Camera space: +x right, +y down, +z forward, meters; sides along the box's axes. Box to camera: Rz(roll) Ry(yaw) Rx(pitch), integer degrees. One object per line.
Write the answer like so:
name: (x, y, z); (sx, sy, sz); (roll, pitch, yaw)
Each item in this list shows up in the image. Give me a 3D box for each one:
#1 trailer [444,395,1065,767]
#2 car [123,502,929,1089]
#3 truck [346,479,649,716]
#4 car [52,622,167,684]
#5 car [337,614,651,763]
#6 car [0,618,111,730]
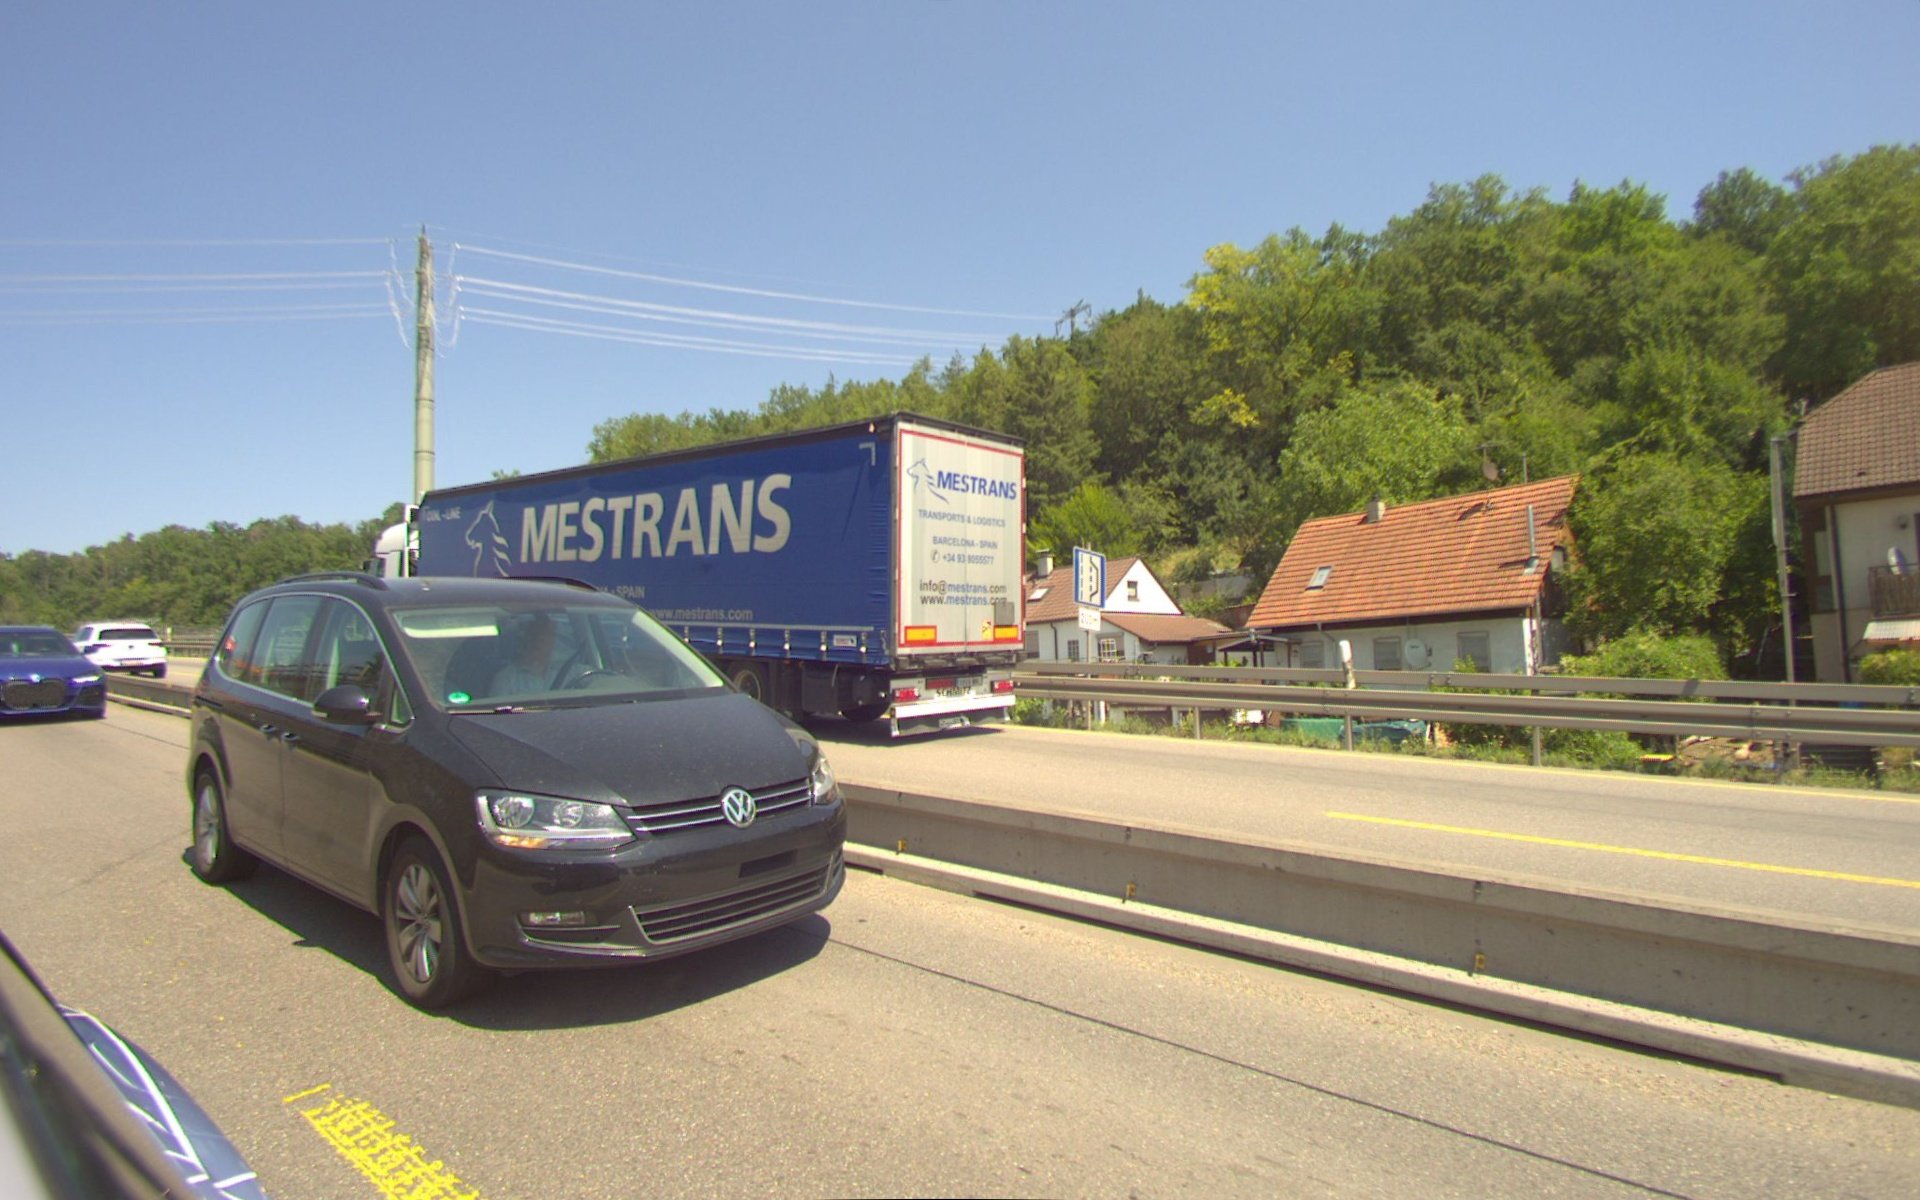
trailer: (-4.098, -0.061, 16.193); (11.809, 4.111, 3.103); (-2, -2, 40)
car: (-2.732, 0.643, 5.418); (5.300, 1.719, 1.837); (-2, -2, 41)
truck: (-9.727, 0.052, 20.949); (6.874, 4.111, 3.103); (-2, -2, 40)
car: (-23.025, 1.402, 27.358); (4.186, 1.547, 1.654); (-2, -2, 40)
car: (-6.001, 0.990, 12.786); (4.554, 1.558, 1.832); (-2, -2, 40)
car: (-15.119, 1.096, 15.992); (4.783, 1.567, 1.871); (-2, -2, 41)
